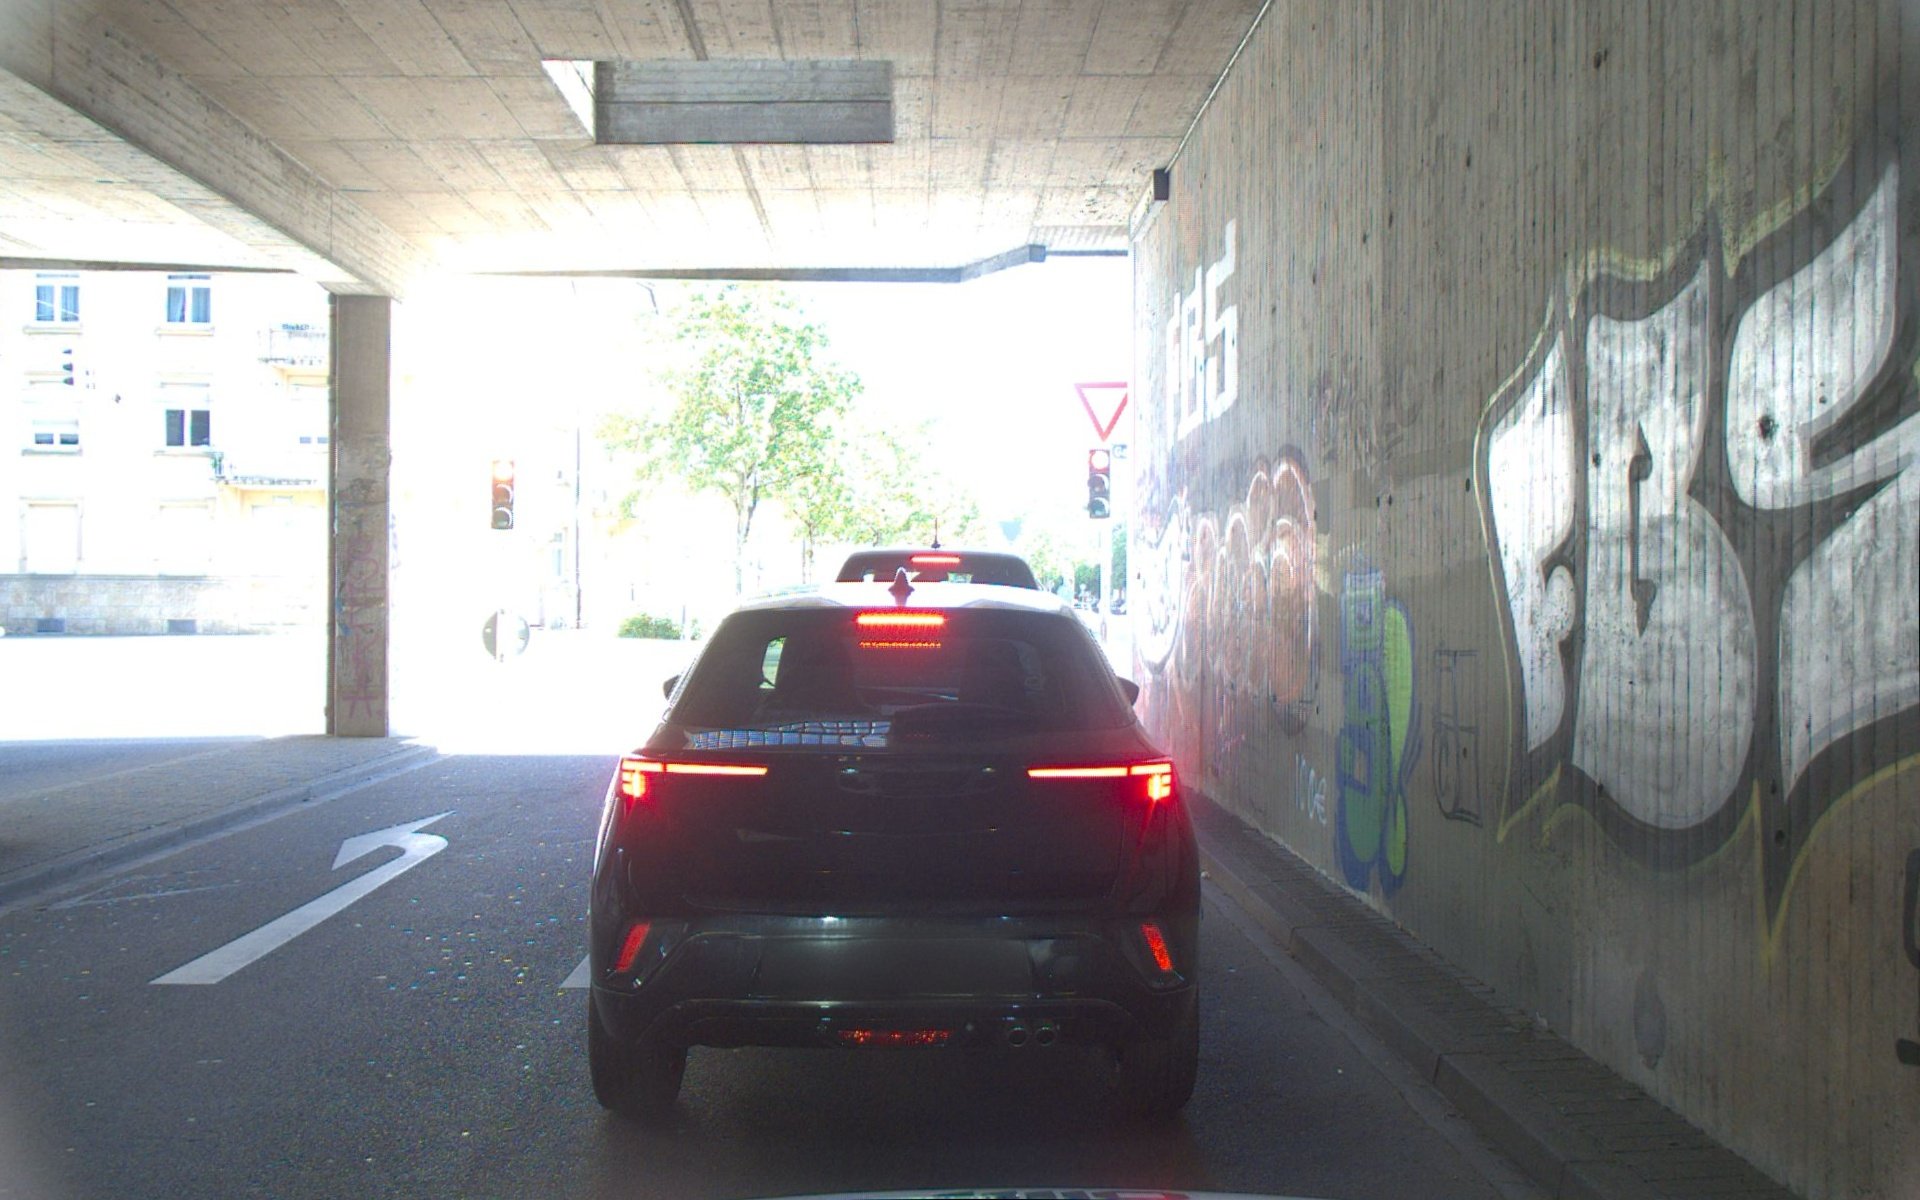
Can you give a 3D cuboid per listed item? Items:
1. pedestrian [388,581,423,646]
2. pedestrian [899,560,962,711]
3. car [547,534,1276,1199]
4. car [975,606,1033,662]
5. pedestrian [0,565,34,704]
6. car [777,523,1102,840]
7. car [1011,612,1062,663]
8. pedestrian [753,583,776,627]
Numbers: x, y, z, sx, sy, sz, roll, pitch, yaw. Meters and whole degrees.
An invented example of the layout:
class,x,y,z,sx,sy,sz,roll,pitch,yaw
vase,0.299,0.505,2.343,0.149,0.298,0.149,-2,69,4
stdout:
class,x,y,z,sx,sy,sz,roll,pitch,yaw
pedestrian,-14.604,0.353,43.591,0.658,1.666,0.740,1,-1,-1
pedestrian,-0.353,0.417,19.859,0.716,1.764,0.874,1,-1,-1
car,-0.144,0.611,5.982,1.729,1.598,4.000,1,1,-1
car,1.701,1.258,62.325,1.951,2.004,4.166,1,0,4
pedestrian,-12.869,0.442,21.733,0.910,1.792,0.794,1,-1,1
car,-0.149,0.476,11.987,1.953,1.904,3.999,0,0,-1
car,3.204,1.531,68.478,1.951,2.004,4.166,1,0,4
pedestrian,-9.378,0.241,79.359,0.873,2.124,0.808,1,-1,7
